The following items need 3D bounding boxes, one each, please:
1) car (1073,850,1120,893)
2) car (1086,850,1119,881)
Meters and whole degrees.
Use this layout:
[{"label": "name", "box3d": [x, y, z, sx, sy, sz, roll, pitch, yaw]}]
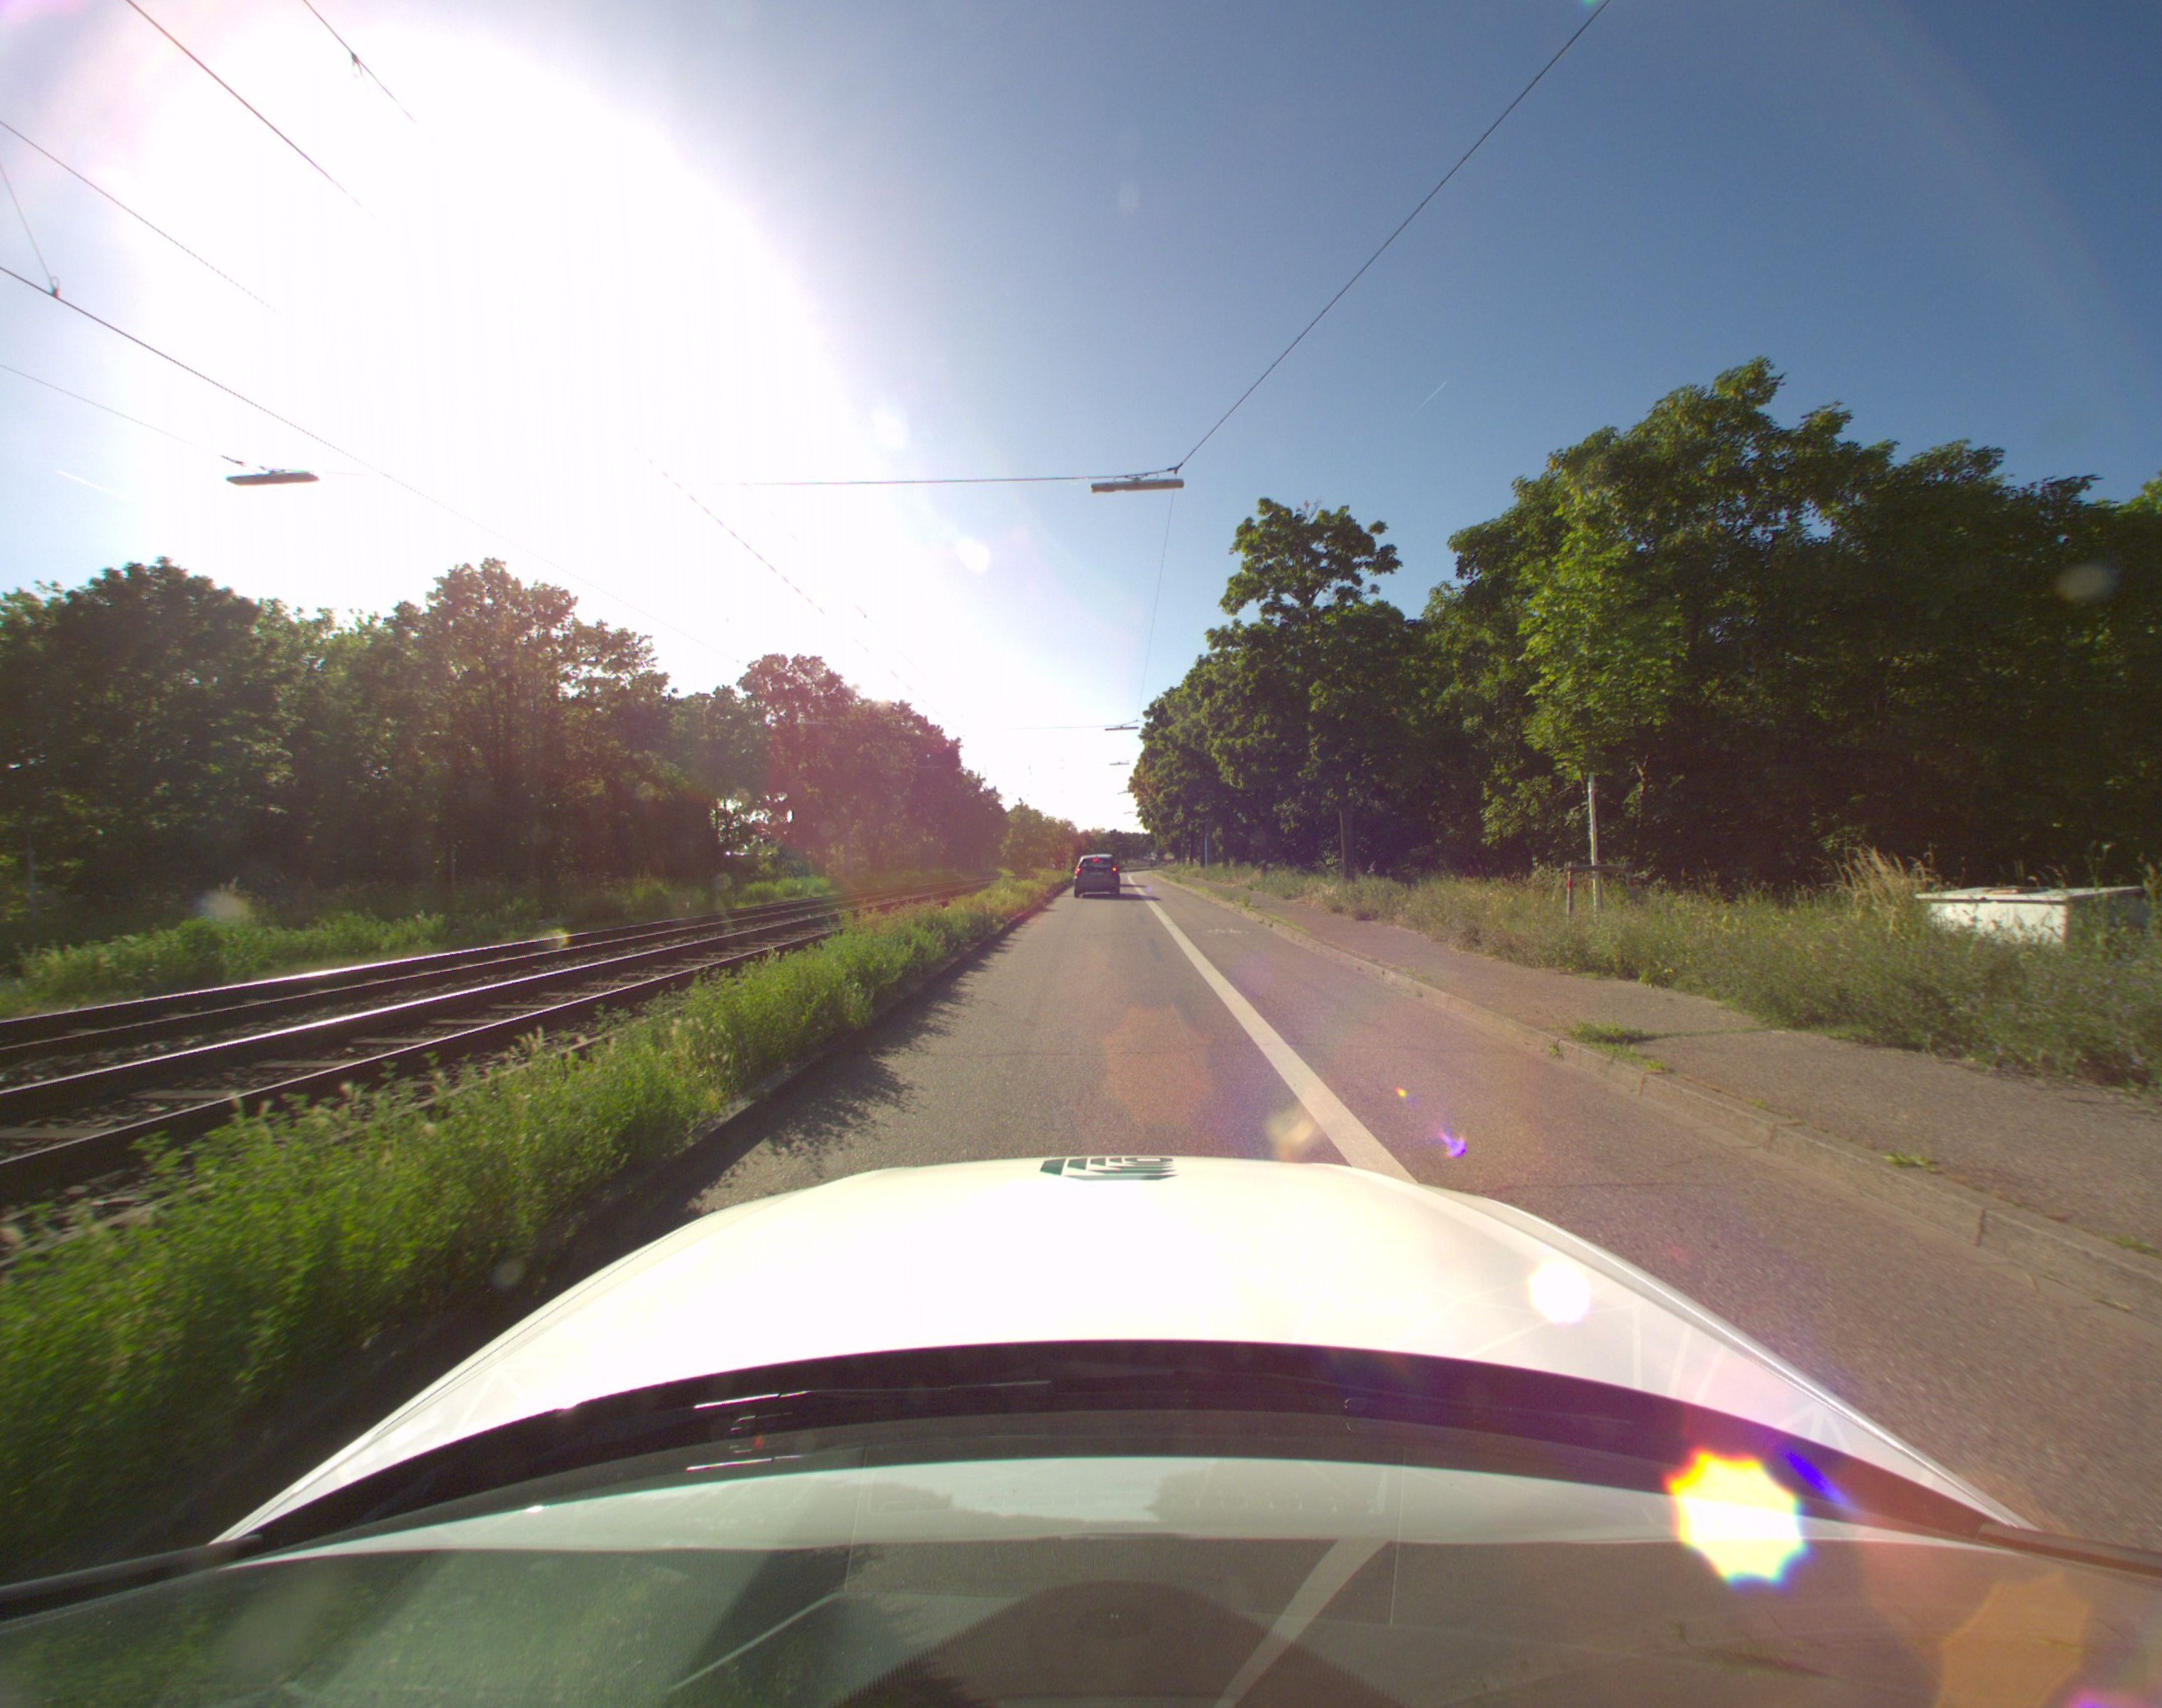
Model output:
[{"label": "car", "box3d": [0.640, 0.615, 30.573, 1.663, 1.507, 3.813, 0, 0, 2]}, {"label": "car", "box3d": [1.171, 0.590, 42.662, 1.648, 1.507, 3.814, 0, 1, 2]}]
